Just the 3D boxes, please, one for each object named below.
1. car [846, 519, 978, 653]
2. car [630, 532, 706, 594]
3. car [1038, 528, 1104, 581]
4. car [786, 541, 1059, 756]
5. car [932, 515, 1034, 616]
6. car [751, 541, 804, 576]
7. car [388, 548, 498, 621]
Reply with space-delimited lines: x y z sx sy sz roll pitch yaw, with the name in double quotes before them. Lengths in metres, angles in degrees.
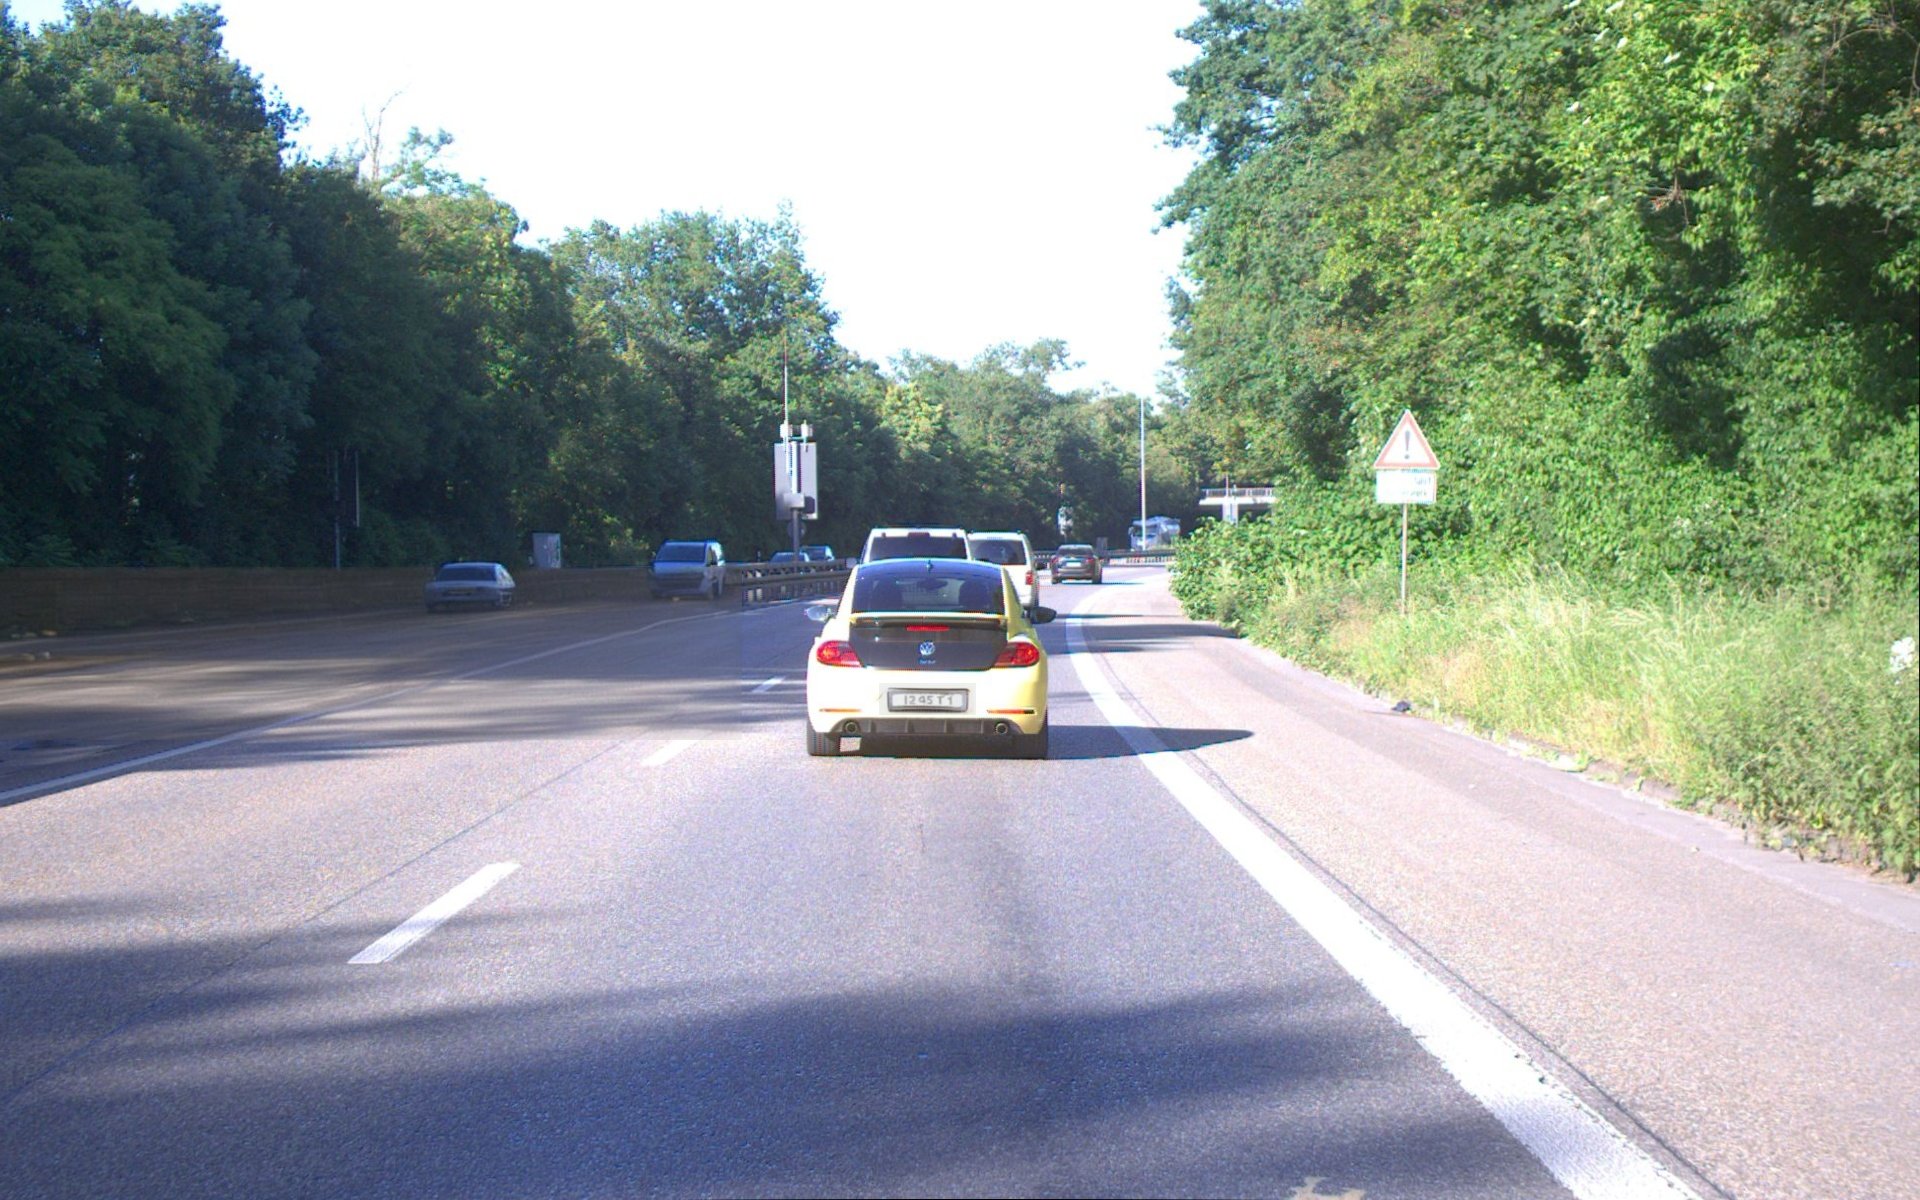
"car" -0.644 -0.230 48.634 1.741 1.823 3.422 0 1 1
"car" -9.407 -1.229 111.160 1.887 1.896 5.415 -2 1 1
"car" 4.259 -1.752 131.019 2.263 1.869 5.076 2 1 4
"car" -0.266 0.317 26.256 1.939 1.503 3.422 0 1 0
"car" 0.459 -0.742 72.725 1.993 2.007 4.000 -2 1 -1
"car" -7.361 -1.698 138.843 1.597 1.309 3.909 -2 1 4
"car" -11.257 -0.361 75.091 1.597 1.448 4.345 -2 1 1
